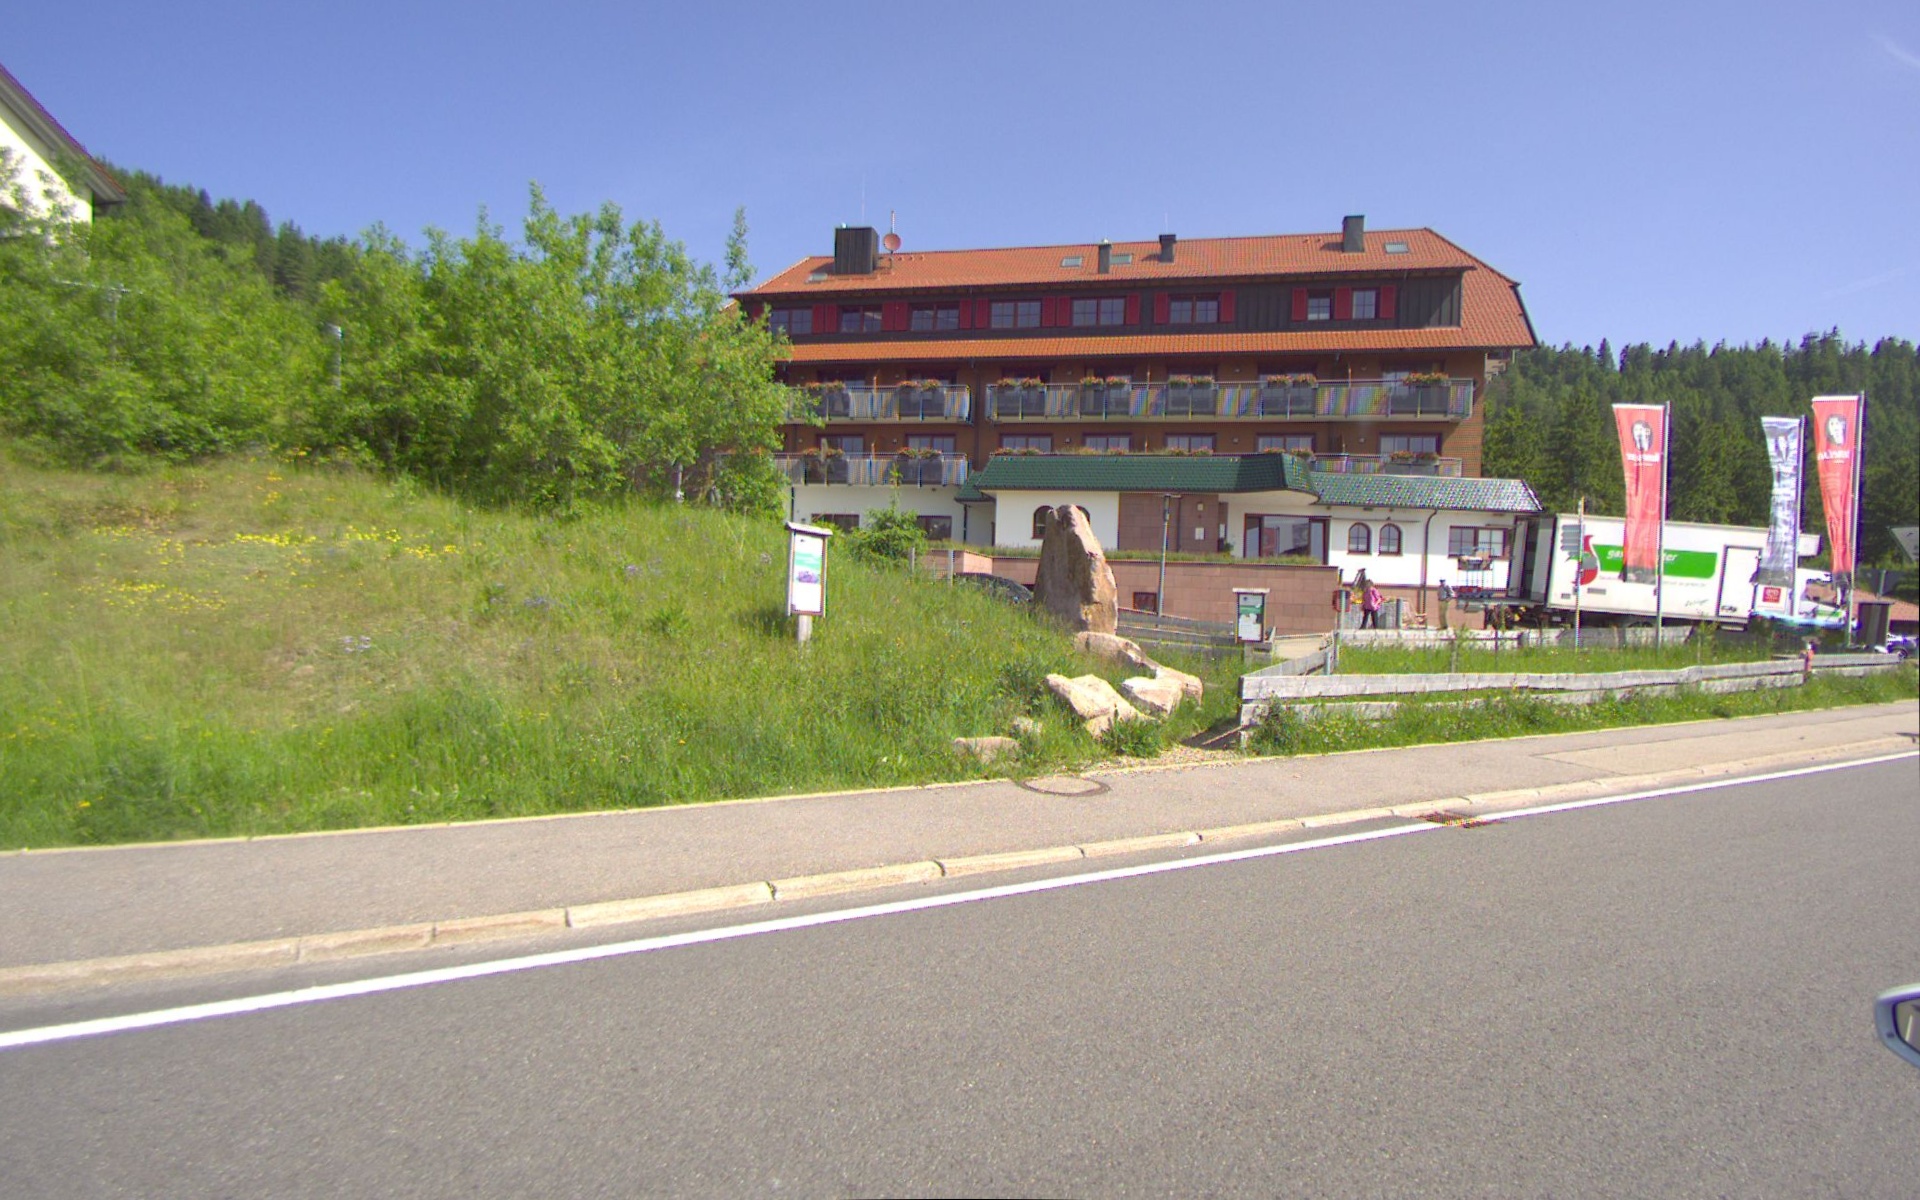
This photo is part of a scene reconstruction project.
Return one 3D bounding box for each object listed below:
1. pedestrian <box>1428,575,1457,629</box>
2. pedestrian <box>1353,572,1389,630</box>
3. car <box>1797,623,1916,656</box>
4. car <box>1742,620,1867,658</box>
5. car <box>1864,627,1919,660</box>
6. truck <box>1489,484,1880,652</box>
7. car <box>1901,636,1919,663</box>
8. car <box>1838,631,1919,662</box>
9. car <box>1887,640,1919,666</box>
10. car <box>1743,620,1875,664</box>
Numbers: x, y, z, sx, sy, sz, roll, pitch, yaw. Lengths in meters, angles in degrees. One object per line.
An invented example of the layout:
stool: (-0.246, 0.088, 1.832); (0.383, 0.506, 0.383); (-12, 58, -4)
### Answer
pedestrian: (15.458, 0.074, 32.167); (0.640, 1.712, 0.575); (1, 0, 3)
pedestrian: (12.623, 0.032, 30.872); (0.782, 1.739, 0.699); (1, 0, 3)
car: (43.980, 1.907, 49.375); (3.919, 1.449, 1.915); (1, 0, 12)
car: (38.898, 1.760, 46.364); (3.919, 1.566, 2.001); (1, 0, 14)
car: (52.123, 2.400, 54.679); (3.920, 1.726, 1.826); (1, 0, 18)
truck: (20.725, -0.965, 29.284); (8.596, 4.025, 3.071); (4, 3, 5)
car: (59.226, 3.010, 60.043); (3.919, 1.565, 1.900); (1, 0, 14)
car: (49.311, 2.463, 53.123); (3.997, 1.506, 1.717); (1, 0, 12)
car: (55.048, 3.019, 56.450); (3.921, 1.389, 1.812); (1, 0, 19)
car: (40.555, 1.972, 48.085); (4.439, 1.888, 1.836); (1, 0, 15)
